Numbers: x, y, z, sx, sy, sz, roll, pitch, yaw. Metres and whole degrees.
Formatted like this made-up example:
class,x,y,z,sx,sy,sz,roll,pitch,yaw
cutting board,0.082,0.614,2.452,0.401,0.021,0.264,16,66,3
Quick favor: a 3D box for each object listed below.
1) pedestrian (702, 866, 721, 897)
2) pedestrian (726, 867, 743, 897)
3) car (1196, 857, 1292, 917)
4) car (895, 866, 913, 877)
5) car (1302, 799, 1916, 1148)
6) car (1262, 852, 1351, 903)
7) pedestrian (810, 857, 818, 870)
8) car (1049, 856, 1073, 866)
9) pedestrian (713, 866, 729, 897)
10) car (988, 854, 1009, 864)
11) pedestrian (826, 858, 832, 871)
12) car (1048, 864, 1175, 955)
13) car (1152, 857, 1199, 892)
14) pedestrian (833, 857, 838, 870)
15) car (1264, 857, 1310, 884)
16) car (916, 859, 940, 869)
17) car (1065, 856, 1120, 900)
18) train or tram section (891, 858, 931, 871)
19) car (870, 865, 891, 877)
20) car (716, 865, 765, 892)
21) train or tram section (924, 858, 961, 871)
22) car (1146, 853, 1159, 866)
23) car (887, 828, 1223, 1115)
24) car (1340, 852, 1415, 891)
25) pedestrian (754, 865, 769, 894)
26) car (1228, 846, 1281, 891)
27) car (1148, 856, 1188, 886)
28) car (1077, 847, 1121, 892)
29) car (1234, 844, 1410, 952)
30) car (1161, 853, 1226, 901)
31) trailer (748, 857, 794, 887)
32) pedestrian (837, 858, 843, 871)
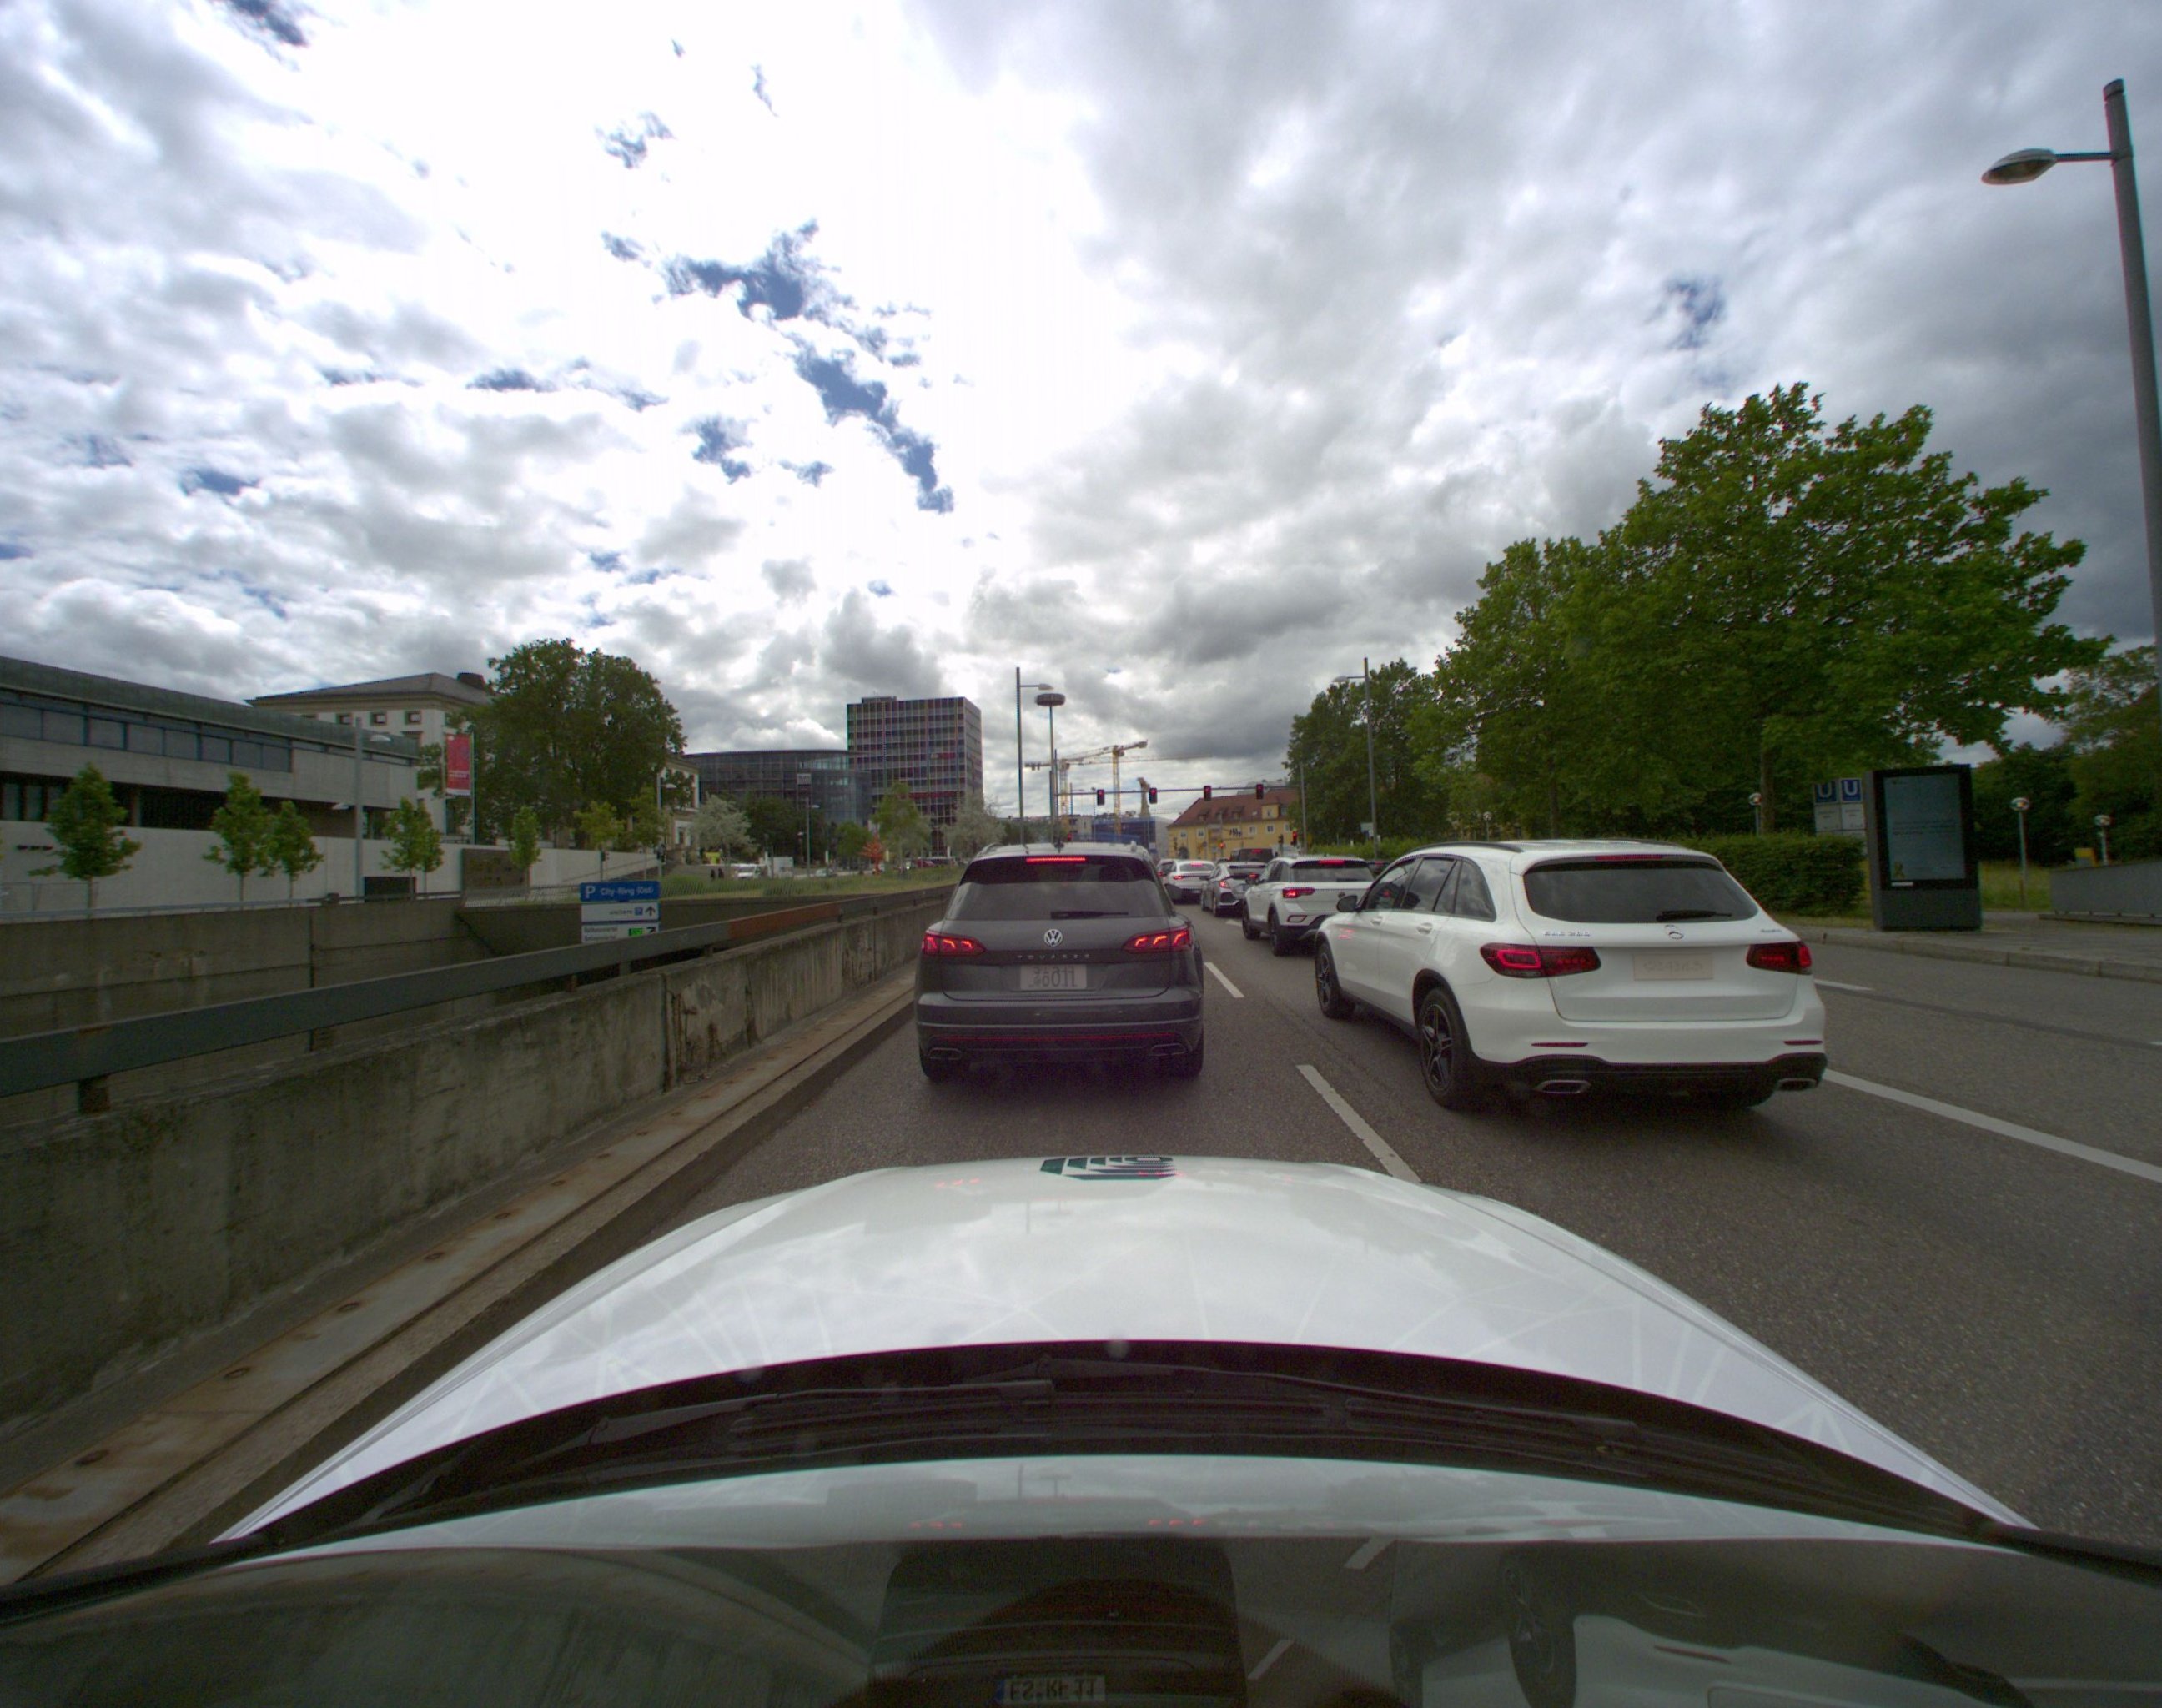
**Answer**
class,x,y,z,sx,sy,sz,roll,pitch,yaw
pedestrian,-24.744,1.847,54.494,0.786,2.013,0.838,-2,0,5
pedestrian,-23.969,1.926,56.317,0.859,2.013,0.627,-2,1,-7
car,4.315,0.850,22.225,1.918,1.432,4.493,-1,-1,3
car,-26.036,2.611,119.809,1.727,1.495,3.594,0,-2,0
car,3.150,0.601,6.193,1.918,1.653,4.493,-1,-1,3
car,7.946,0.783,29.090,1.987,1.640,4.304,-1,0,0
pedestrian,-41.104,1.474,125.343,0.735,2.013,0.793,-2,1,2
car,-3.586,1.227,144.617,4.173,1.603,1.764,-1,-2,38
pedestrian,-24.436,1.869,55.253,0.791,2.013,0.833,-2,0,-13
car,-18.325,1.147,181.692,4.402,2.014,2.012,-1,-2,36
pedestrian,-39.164,1.573,126.483,0.740,2.013,0.915,-2,1,-17
car,0.525,0.878,14.510,1.944,1.384,3.932,0,0,1
car,4.337,0.937,37.781,1.918,1.529,4.050,-1,-1,3
pedestrian,-39.118,1.555,129.866,0.739,2.013,0.789,-2,1,-14
car,11.492,0.928,45.651,1.751,1.447,3.633,0,-1,1
car,-31.005,2.009,165.170,4.631,2.013,2.013,-1,1,33
car,0.475,0.874,31.153,1.944,1.600,3.932,0,0,1
train or tram section,-40.796,2.495,195.171,10.296,3.010,2.612,-1,-2,30
car,-25.474,2.153,103.391,1.727,1.495,3.594,0,-2,0
car,-28.835,2.052,69.139,1.985,2.013,4.695,-2,1,3
train or tram section,-32.491,2.395,190.418,8.836,3.010,2.612,-1,-2,30
car,9.810,0.757,111.410,1.612,1.627,4.002,0,-2,3
car,-0.099,0.701,6.785,1.944,1.651,4.001,-1,0,1
car,11.841,0.724,32.840,1.921,1.460,4.536,0,-1,7
pedestrian,-23.393,1.865,59.660,0.729,2.012,0.628,-2,4,-6
car,8.257,0.684,39.059,1.902,2.014,4.014,0,-1,3
car,4.655,0.928,44.066,1.918,1.529,4.050,-1,-1,3
car,0.871,0.712,38.685,1.944,2.018,3.932,0,0,1
car,3.926,0.683,14.114,1.918,1.551,4.493,-1,-1,3
car,3.902,0.793,28.966,1.918,1.529,4.493,-1,-1,3
trailer,-28.748,1.614,75.727,2.030,2.604,5.511,0,0,2
pedestrian,-40.754,1.765,137.662,0.739,2.013,0.789,-2,1,-14
